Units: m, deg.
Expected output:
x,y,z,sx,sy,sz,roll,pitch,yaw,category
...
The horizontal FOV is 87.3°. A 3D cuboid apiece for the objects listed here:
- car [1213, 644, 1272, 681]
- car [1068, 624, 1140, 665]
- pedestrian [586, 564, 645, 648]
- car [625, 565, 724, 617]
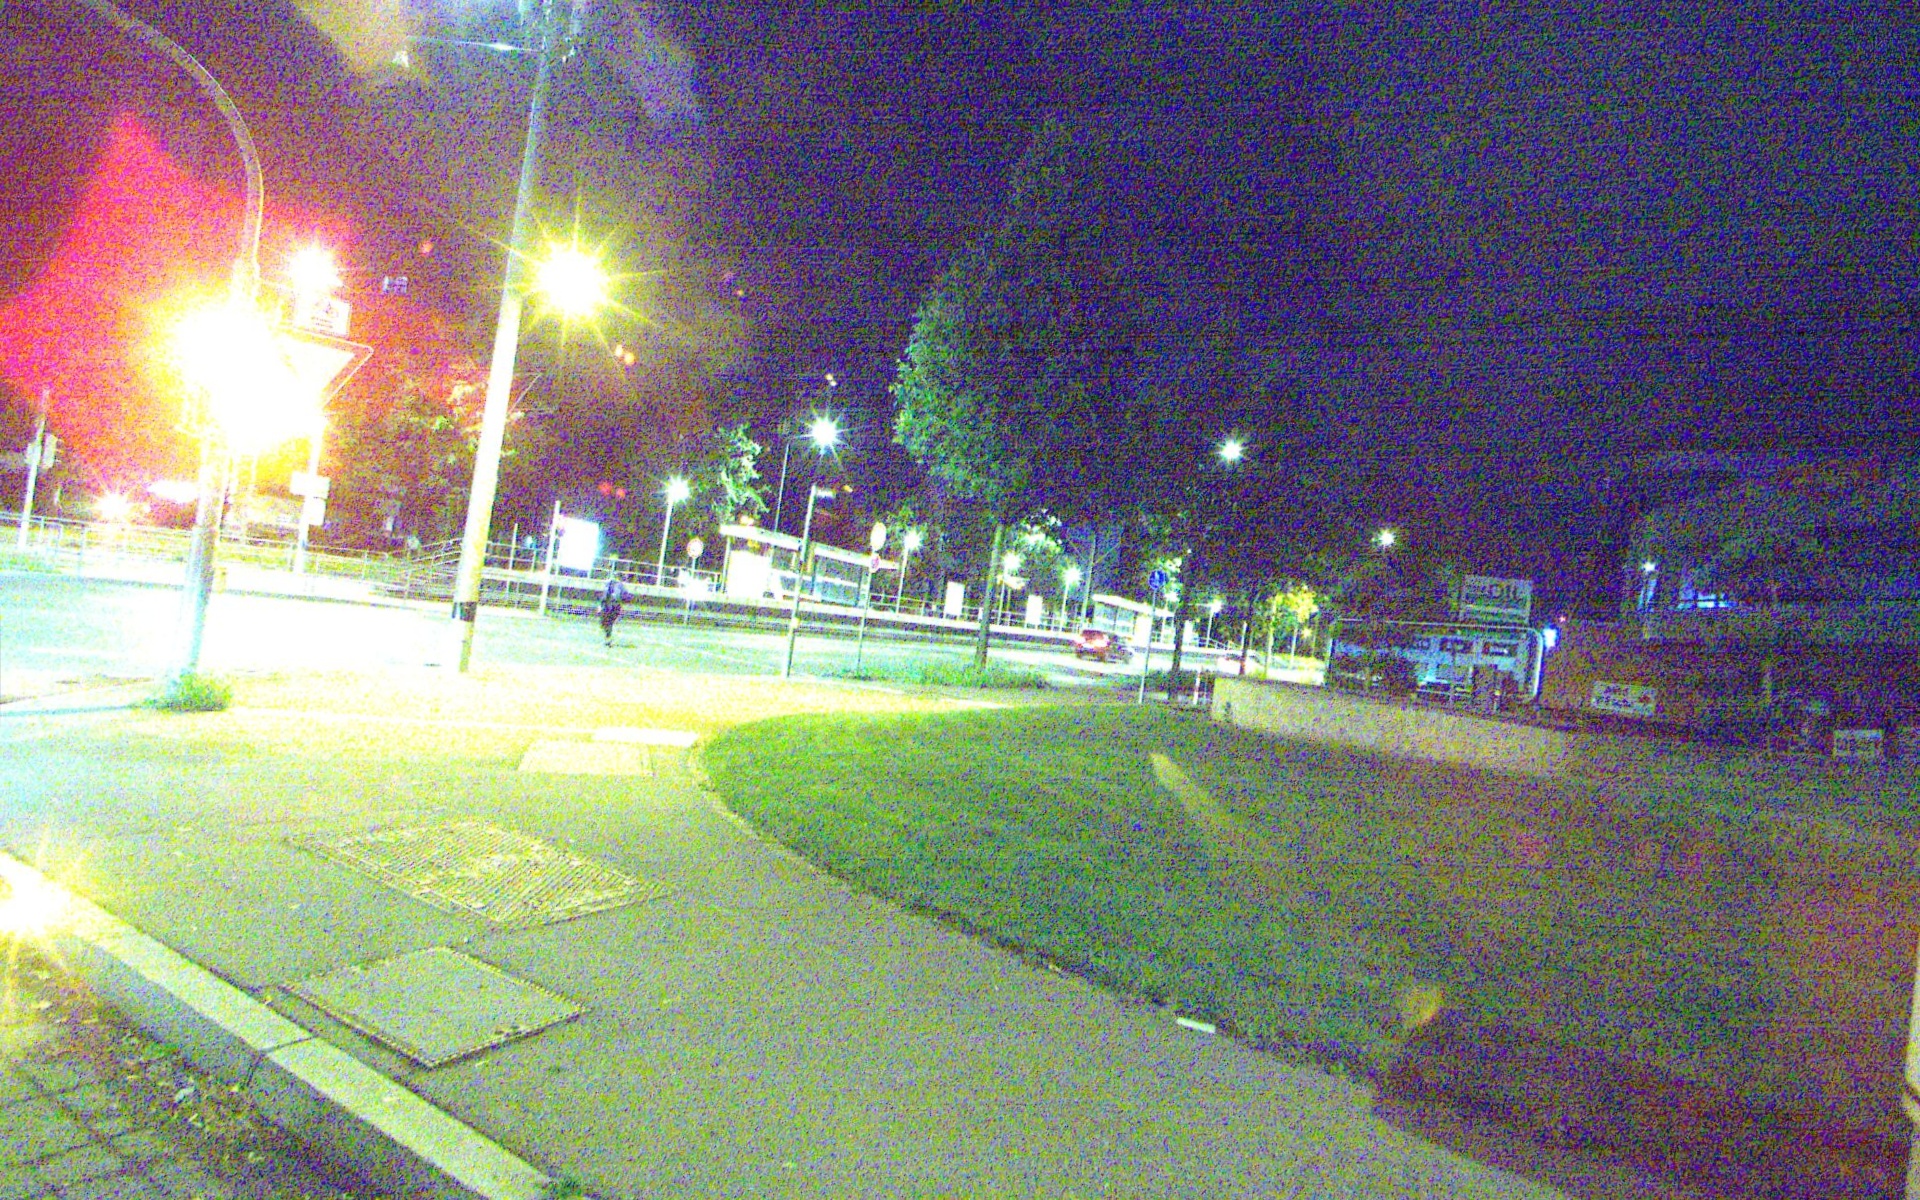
x,y,z,sx,sy,sz,roll,pitch,yaw,category
15.483,3.410,55.010,1.780,1.684,3.988,10,3,33,car
7.767,2.404,53.832,1.834,1.679,4.449,9,0,35,car
-7.551,0.137,22.036,0.820,1.767,0.755,6,1,31,pedestrian
-13.250,-0.408,46.850,1.970,2.039,3.985,6,0,36,car
